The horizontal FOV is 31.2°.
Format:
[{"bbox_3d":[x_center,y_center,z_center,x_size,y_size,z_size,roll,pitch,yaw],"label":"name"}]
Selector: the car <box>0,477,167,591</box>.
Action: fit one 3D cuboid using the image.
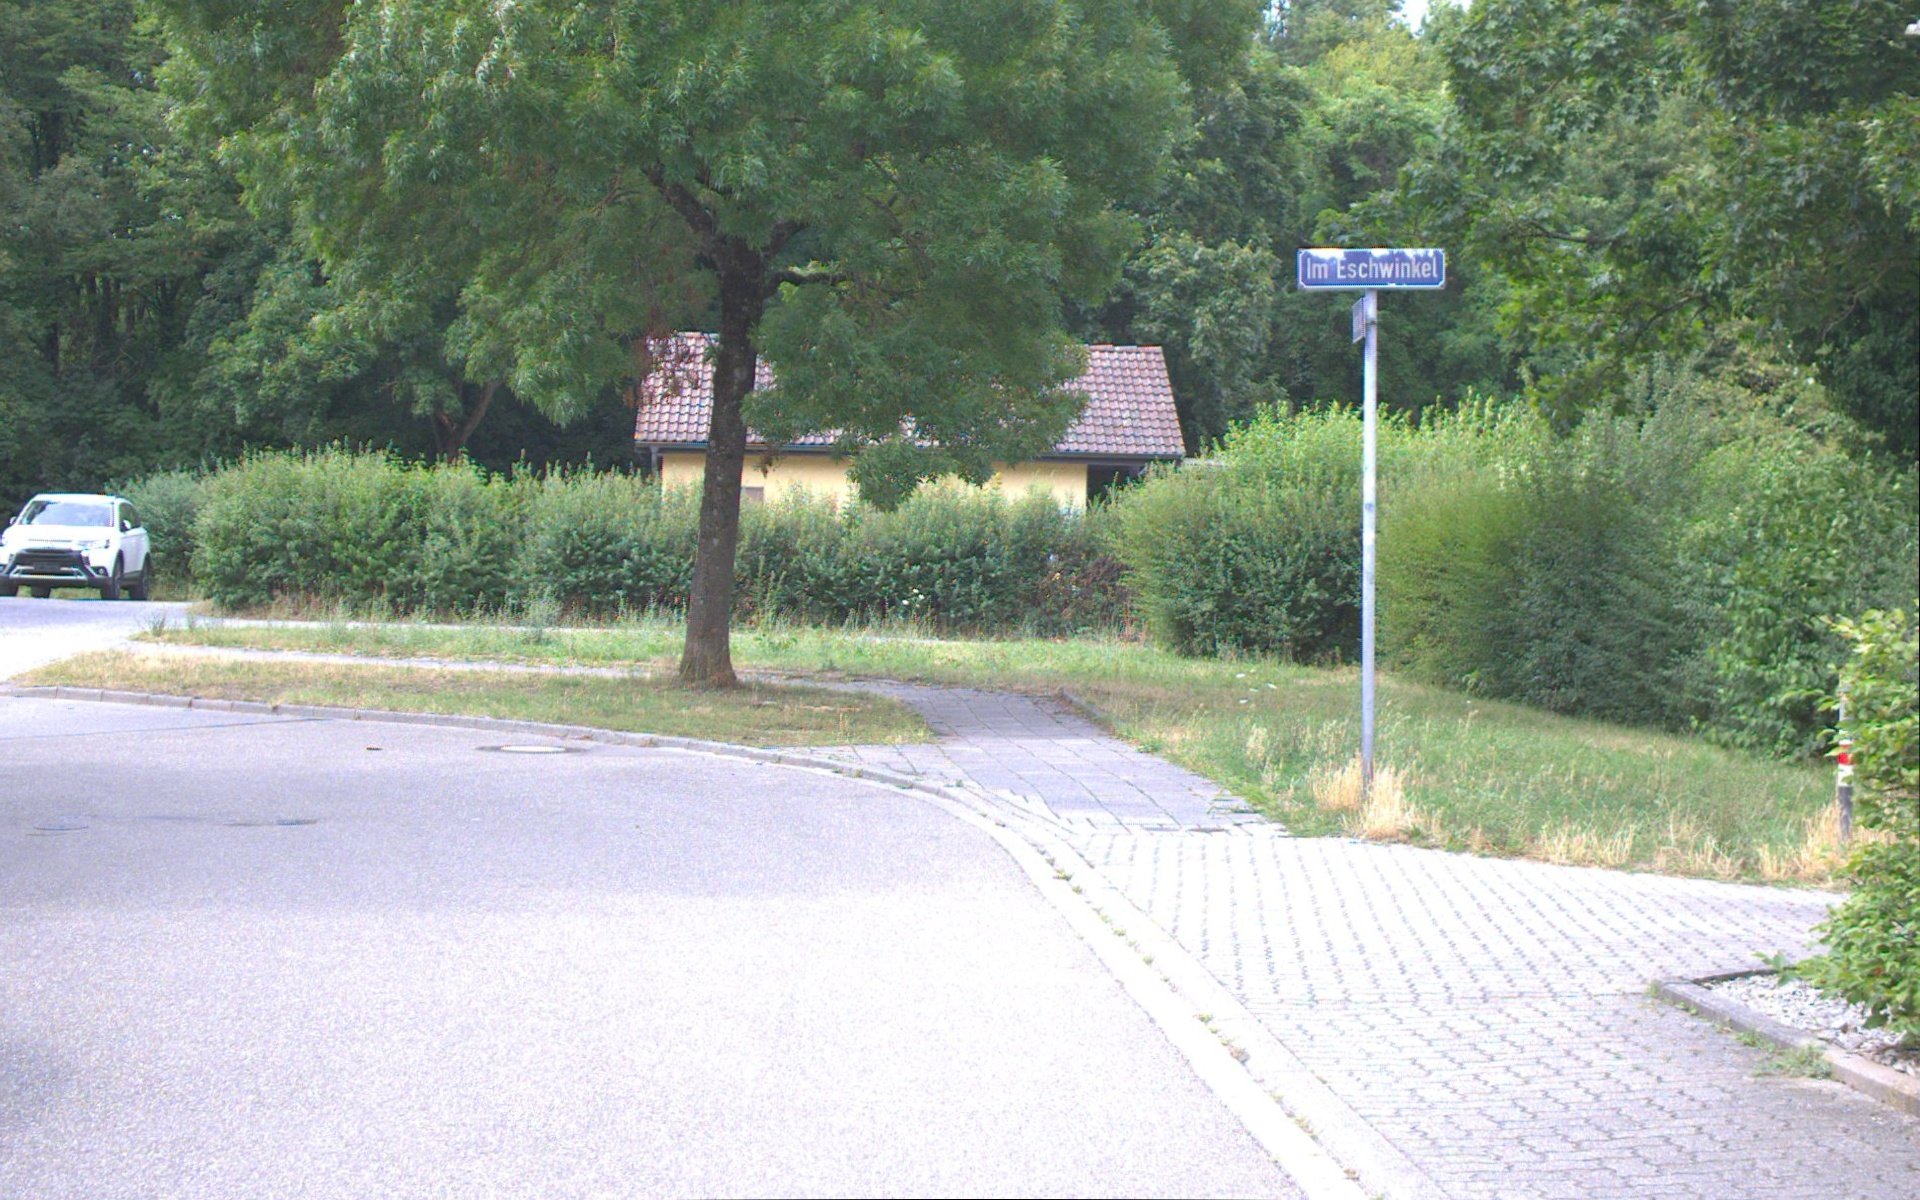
[{"bbox_3d":[-13.666,-1.039,53.269,1.937,1.654,4.341,1,1,-3],"label":"car"}]
